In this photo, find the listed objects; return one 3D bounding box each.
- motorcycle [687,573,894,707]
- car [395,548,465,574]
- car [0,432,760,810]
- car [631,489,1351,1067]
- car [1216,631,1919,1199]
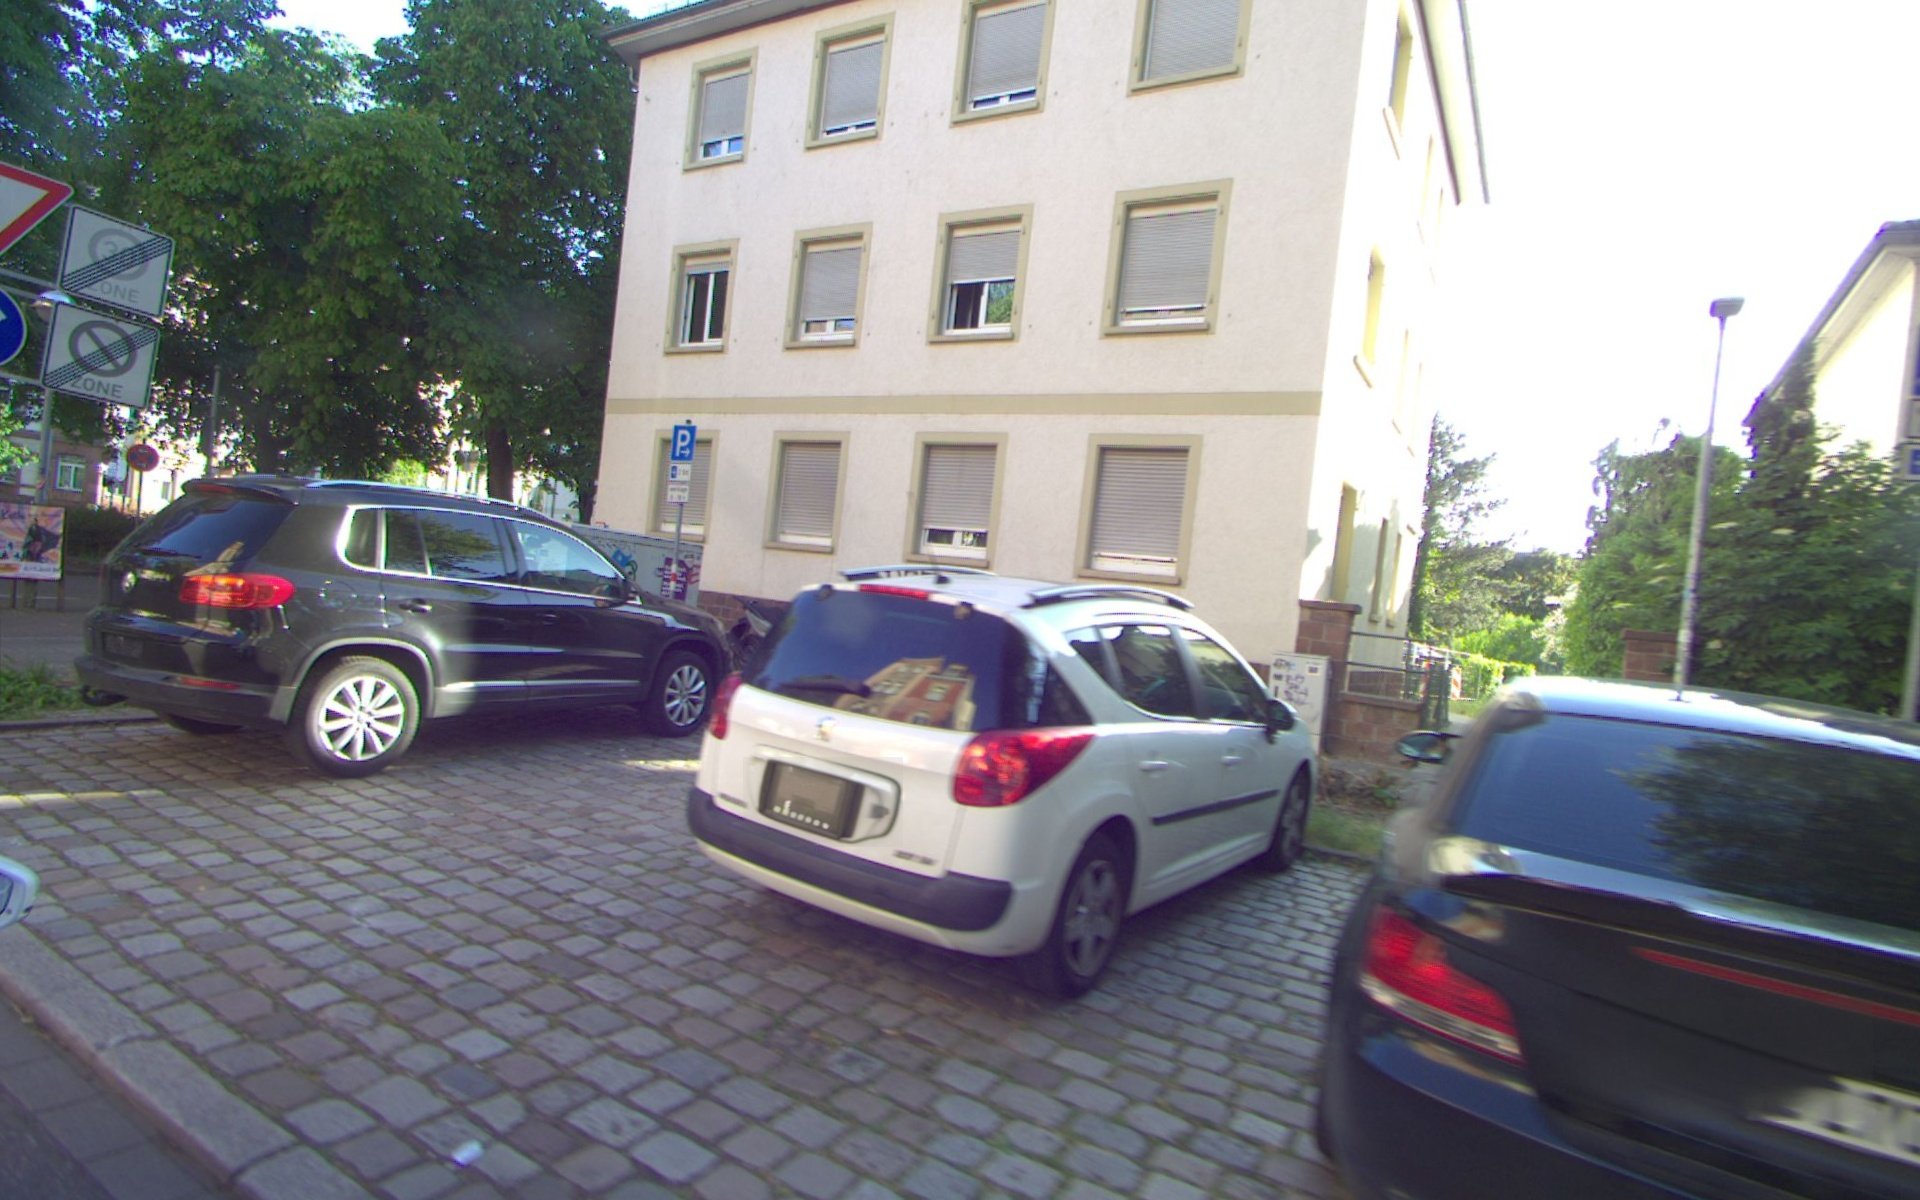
[{"bbox_3d":[-2.032,0.460,12.061,2.143,1.296,0.977,7,1,23],"label":"motorcycle"},{"bbox_3d":[-37.611,-2.743,71.518,1.962,1.516,4.373,7,1,12],"label":"car"},{"bbox_3d":[-3.564,0.110,7.063,1.988,1.735,4.112,7,1,27],"label":"car"},{"bbox_3d":[0.518,0.602,4.970,1.677,1.671,3.694,7,0,35],"label":"car"},{"bbox_3d":[2.384,0.923,3.358,1.762,1.431,4.104,7,2,31],"label":"car"}]
